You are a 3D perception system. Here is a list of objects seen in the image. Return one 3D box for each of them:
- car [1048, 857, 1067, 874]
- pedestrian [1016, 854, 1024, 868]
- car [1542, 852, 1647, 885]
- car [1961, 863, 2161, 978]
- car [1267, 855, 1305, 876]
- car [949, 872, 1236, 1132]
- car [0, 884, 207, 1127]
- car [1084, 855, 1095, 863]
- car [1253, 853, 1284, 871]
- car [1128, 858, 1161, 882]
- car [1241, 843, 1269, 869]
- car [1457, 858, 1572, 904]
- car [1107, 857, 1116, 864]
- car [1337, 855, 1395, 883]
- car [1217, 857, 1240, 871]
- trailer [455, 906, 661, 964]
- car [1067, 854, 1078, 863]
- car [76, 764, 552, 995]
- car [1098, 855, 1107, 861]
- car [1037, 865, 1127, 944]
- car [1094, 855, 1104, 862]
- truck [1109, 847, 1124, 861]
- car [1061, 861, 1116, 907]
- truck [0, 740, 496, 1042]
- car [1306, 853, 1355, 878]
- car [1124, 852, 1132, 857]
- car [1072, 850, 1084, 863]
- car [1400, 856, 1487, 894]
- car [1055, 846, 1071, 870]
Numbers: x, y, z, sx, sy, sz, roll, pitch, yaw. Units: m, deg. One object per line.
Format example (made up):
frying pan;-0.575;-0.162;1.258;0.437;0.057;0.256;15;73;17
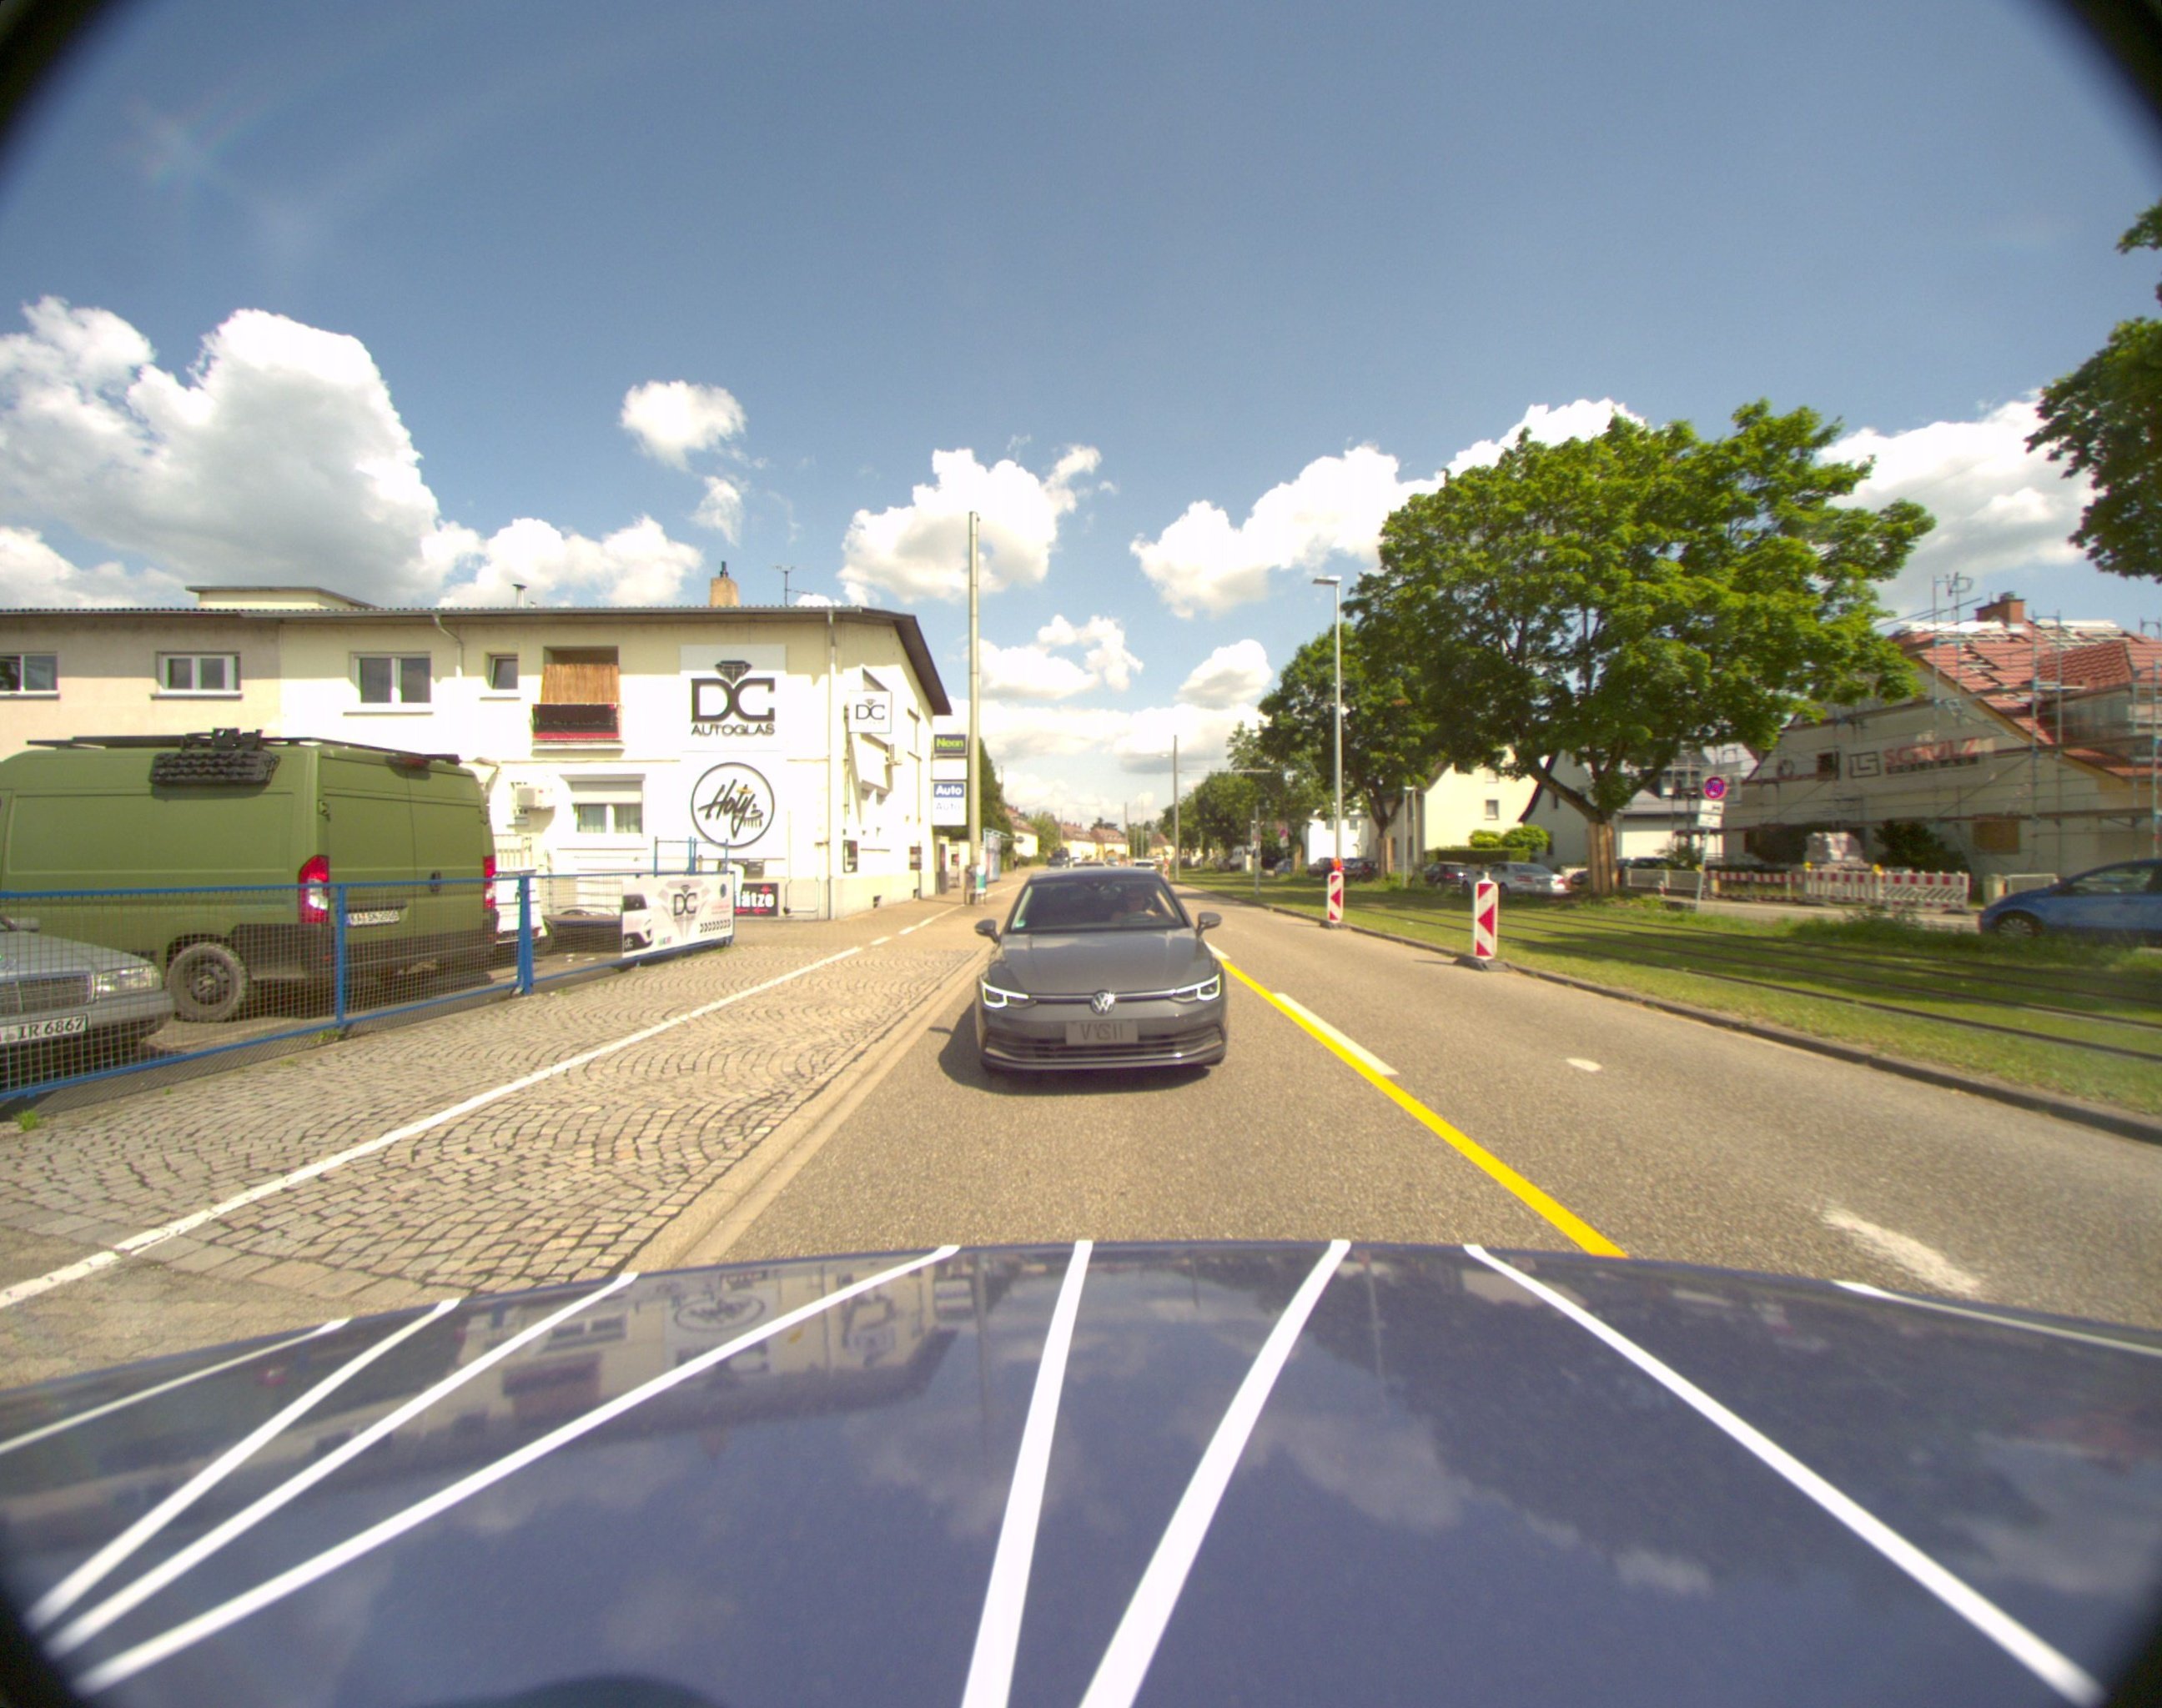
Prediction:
car;-2.167;1.063;70.988;1.720;1.470;4.009;0;0;0
pedestrian;-6.529;0.744;81.703;0.816;1.577;0.918;0;0;1
car;25.506;0.718;37.834;4.047;1.602;1.757;0;0;1
car;16.241;0.957;11.234;1.755;1.602;4.050;0;0;0
car;16.489;0.914;61.358;1.755;1.602;4.606;0;0;0
car;0.095;0.936;6.561;1.719;1.470;4.009;0;0;1
car;-8.441;0.917;4.811;4.206;1.388;1.804;0;0;8
car;1.807;0.982;155.303;1.718;1.470;4.011;0;0;8
car;17.578;0.753;71.498;1.755;1.602;4.606;0;0;0
car;3.910;0.938;47.145;1.719;1.405;4.262;0;0;1
car;17.639;0.193;77.061;1.755;2.601;4.606;0;0;0
car;16.383;0.963;29.009;1.755;1.602;4.606;0;0;0
car;6.360;1.307;156.919;1.754;1.405;4.263;0;0;5
car;16.895;0.848;45.269;1.755;1.602;4.606;0;0;0
car;16.925;1.148;87.272;1.755;1.602;4.606;0;0;0
trailer;-8.067;1.236;11.837;2.329;0.762;1.269;0;0;2
car;-1.372;0.733;122.960;1.720;1.470;4.009;0;0;0
car;-9.459;0.300;9.653;4.209;2.653;1.803;0;0;0
car;5.169;0.990;179.087;1.718;1.470;4.011;0;0;8
car;0.046;1.005;16.634;1.719;1.470;4.009;0;0;1
car;4.097;0.989;172.737;1.718;1.470;4.011;0;0;8
truck;9.397;0.014;201.136;2.590;3.431;8.585;0;0;11
car;0.282;0.990;26.790;1.787;1.470;4.009;0;0;1
truck;-8.628;0.327;7.567;3.997;2.592;2.069;0;0;1
car;16.673;0.761;50.909;1.755;1.602;4.606;0;0;0
car;13.522;0.227;218.479;1.718;1.470;4.013;0;0;13
car;-0.436;0.394;136.324;1.719;2.360;5.211;0;0;5
car;16.584;0.915;35.031;1.755;1.602;4.606;0;0;0
car;-1.925;0.407;82.850;1.720;2.526;5.794;0;0;0
